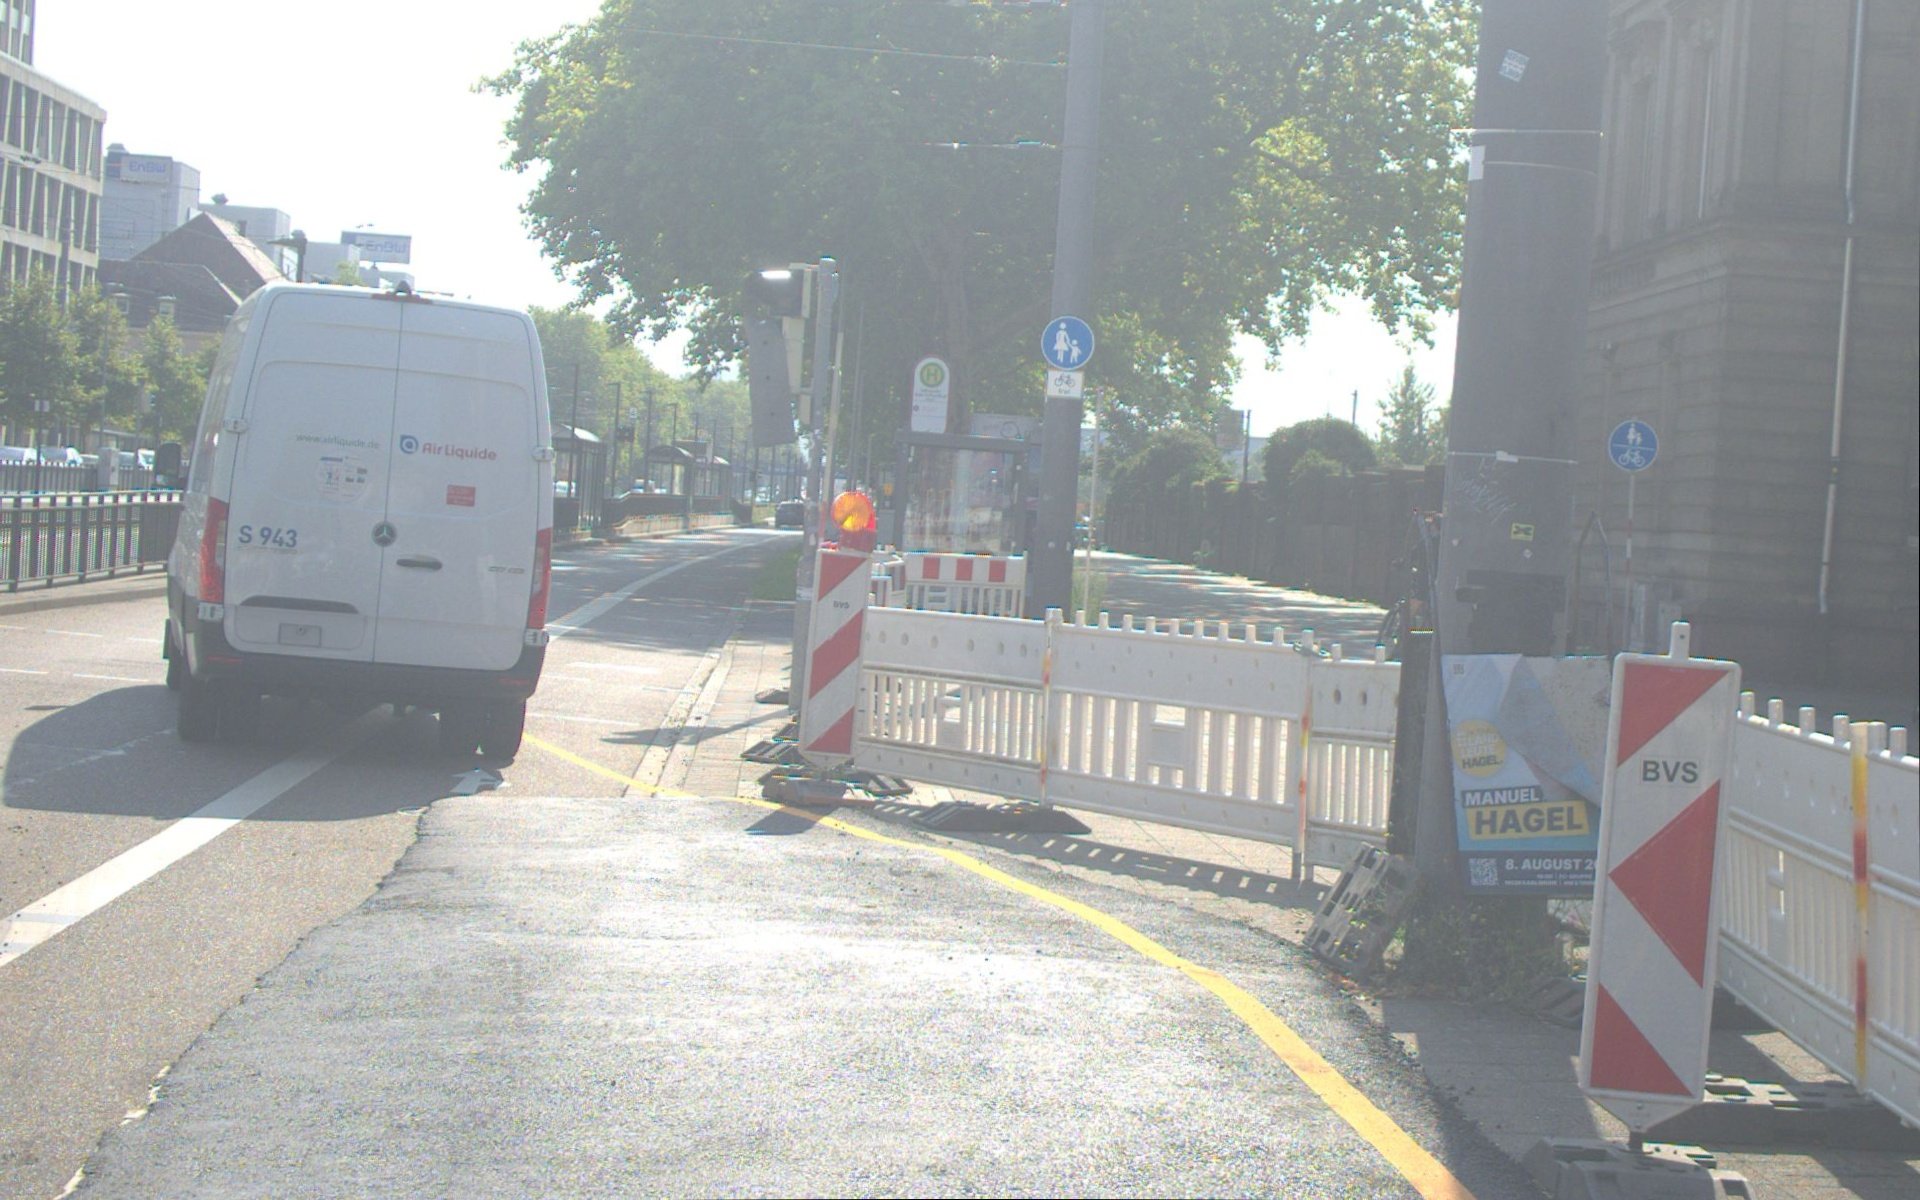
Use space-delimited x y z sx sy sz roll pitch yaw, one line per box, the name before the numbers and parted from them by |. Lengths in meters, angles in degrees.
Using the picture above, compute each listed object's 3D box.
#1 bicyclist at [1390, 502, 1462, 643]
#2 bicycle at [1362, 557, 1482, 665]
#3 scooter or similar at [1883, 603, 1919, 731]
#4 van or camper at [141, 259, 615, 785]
bicyclist | 5.238 -0.316 38.639 0.469 1.534 0.596 4 2 -18
bicycle | 5.186 0.113 38.689 0.491 1.085 1.858 4 2 -18
scooter or similar | 9.653 0.673 34.599 0.425 1.224 1.173 4 2 5
van or camper | -3.751 -0.538 21.226 2.115 2.672 5.253 5 2 -16
